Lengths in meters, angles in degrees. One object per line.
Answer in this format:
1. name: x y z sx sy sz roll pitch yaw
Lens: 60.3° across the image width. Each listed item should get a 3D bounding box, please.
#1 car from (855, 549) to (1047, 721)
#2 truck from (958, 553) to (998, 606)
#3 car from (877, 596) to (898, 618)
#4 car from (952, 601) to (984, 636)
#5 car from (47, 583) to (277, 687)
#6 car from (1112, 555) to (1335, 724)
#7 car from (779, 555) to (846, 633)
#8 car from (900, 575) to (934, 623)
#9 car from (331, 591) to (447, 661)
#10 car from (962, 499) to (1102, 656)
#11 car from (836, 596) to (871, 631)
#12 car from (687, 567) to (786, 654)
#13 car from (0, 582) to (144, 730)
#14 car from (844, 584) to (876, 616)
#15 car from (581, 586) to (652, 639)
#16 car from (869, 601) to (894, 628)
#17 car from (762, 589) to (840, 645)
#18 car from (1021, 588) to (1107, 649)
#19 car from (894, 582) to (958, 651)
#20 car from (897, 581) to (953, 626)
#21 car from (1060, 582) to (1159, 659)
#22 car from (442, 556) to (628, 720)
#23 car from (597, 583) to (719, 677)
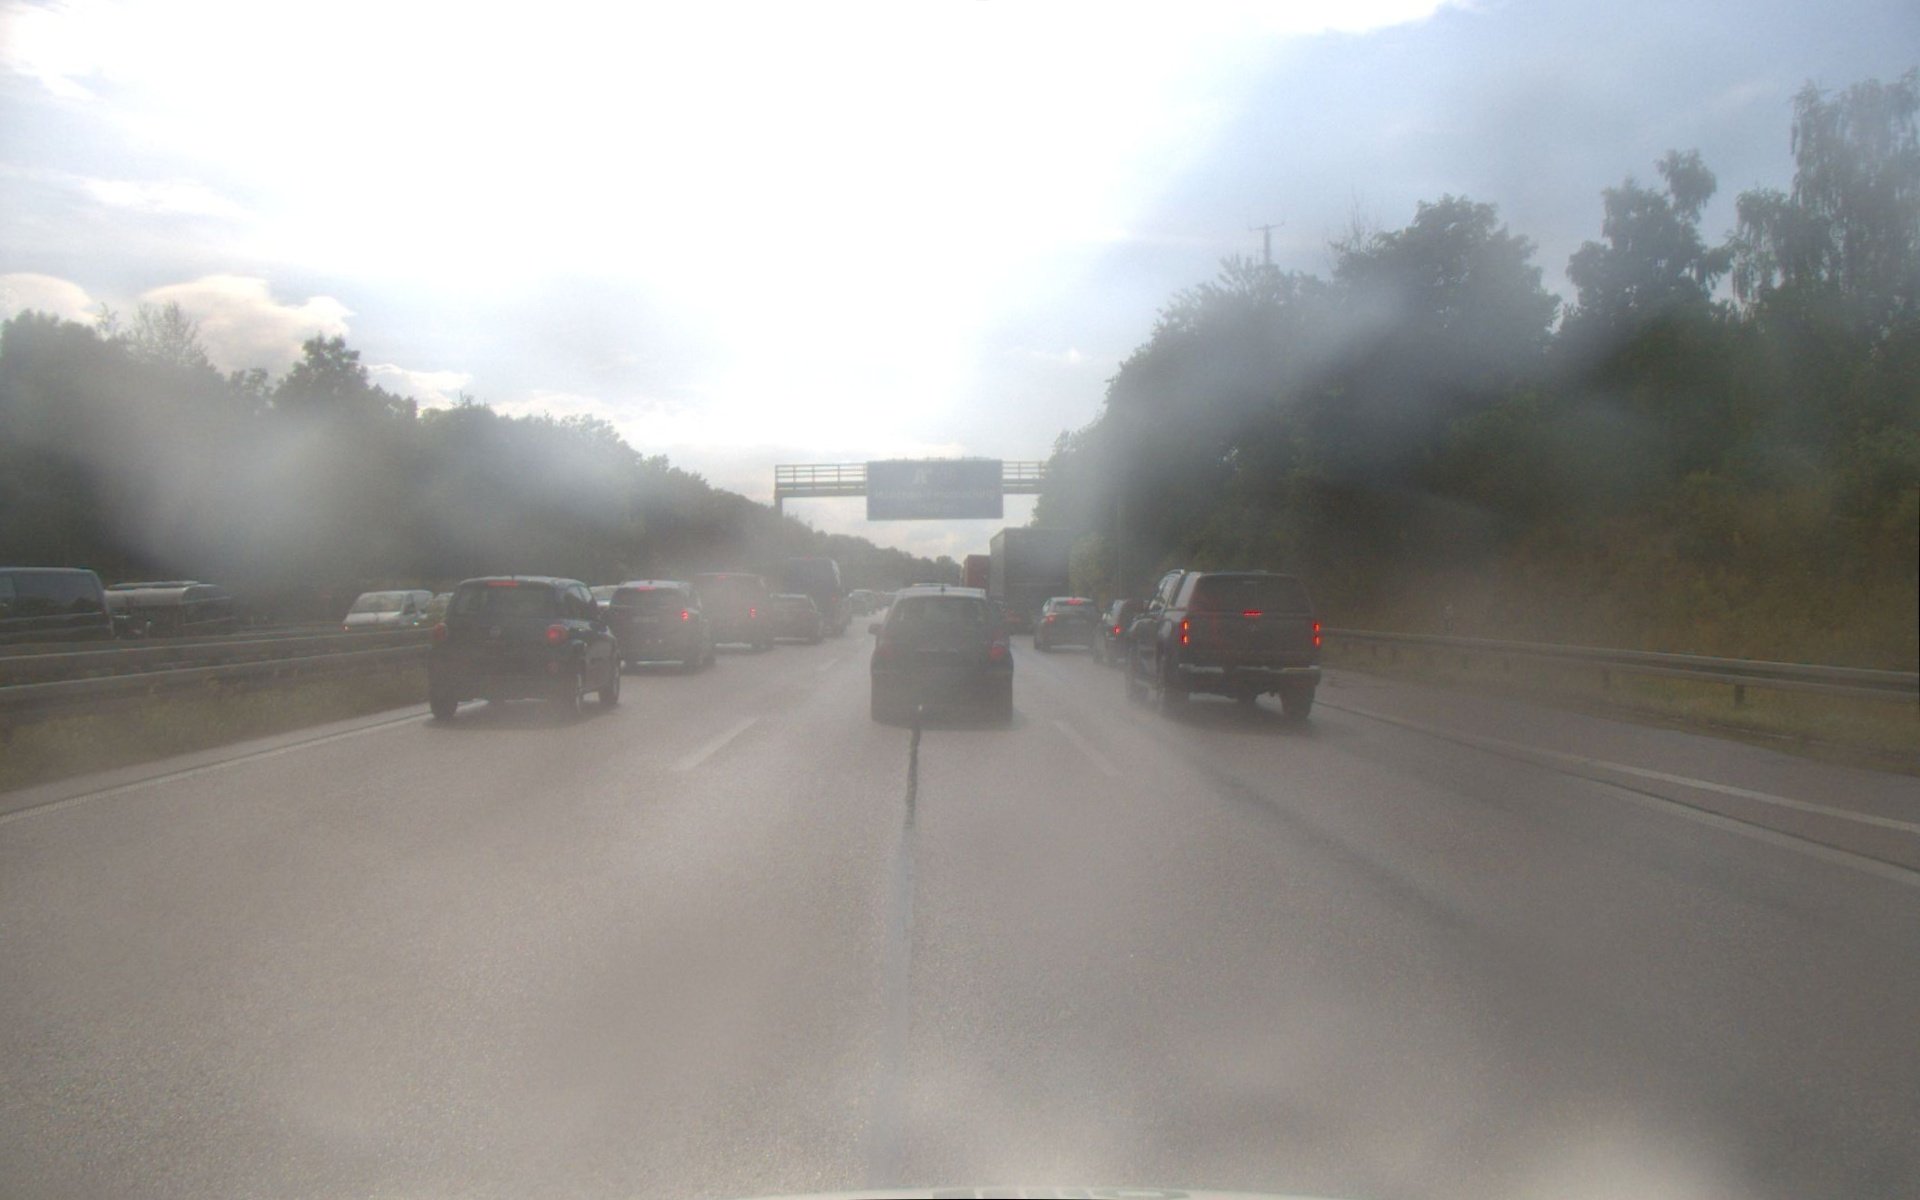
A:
1. car: -0.210 0.425 21.810 2.229 1.989 4.818 1 0 -3
2. truck: 1.289 -1.398 119.318 2.719 3.695 5.915 1 0 -1
3. car: -7.218 0.710 164.673 1.953 2.152 4.887 1 0 -1
4. car: 0.487 1.172 106.275 1.953 2.152 4.887 1 0 -1
5. car: -17.535 0.726 36.815 2.130 2.082 6.498 1 0 -2
6. car: 3.344 0.476 22.155 1.902 1.952 5.650 1 0 -2
7. car: -5.231 -0.195 59.179 1.953 2.661 5.258 1 0 -1
8. car: -2.555 -0.039 99.737 1.953 2.794 5.258 1 0 -1
9. car: -17.934 0.785 52.165 2.130 2.082 4.650 1 0 -2
10. car: 2.766 -0.807 71.520 4.316 5.932 16.806 1 0 -3
11. car: -6.830 0.878 106.588 1.953 2.152 4.887 1 0 -1
12. car: -5.723 0.271 42.852 1.938 2.090 4.755 1 0 -1
13. car: -13.467 0.722 22.911 1.913 1.924 5.056 1 0 -2
14. car: -7.073 0.003 117.241 1.953 2.152 4.887 1 0 -1
15. car: -14.251 0.517 68.874 2.010 2.082 5.207 1 0 -2
16. car: -6.587 1.214 139.233 1.953 2.152 4.887 1 0 -1
17. car: -4.724 0.504 49.745 1.953 1.592 4.755 1 0 -1
18. car: 2.752 0.479 44.416 1.828 1.542 3.973 1 0 -4
19. car: -0.995 0.463 46.516 1.659 1.836 3.973 1 0 -3
20. car: -1.296 0.138 59.159 1.828 1.542 3.973 1 0 -4
21. car: 3.154 0.423 35.521 1.559 1.542 3.973 1 0 -3
22. car: -5.185 0.442 20.633 1.660 1.836 3.970 1 0 -6
23. car: -5.812 0.543 32.304 1.871 1.665 4.612 -1 0 -5
